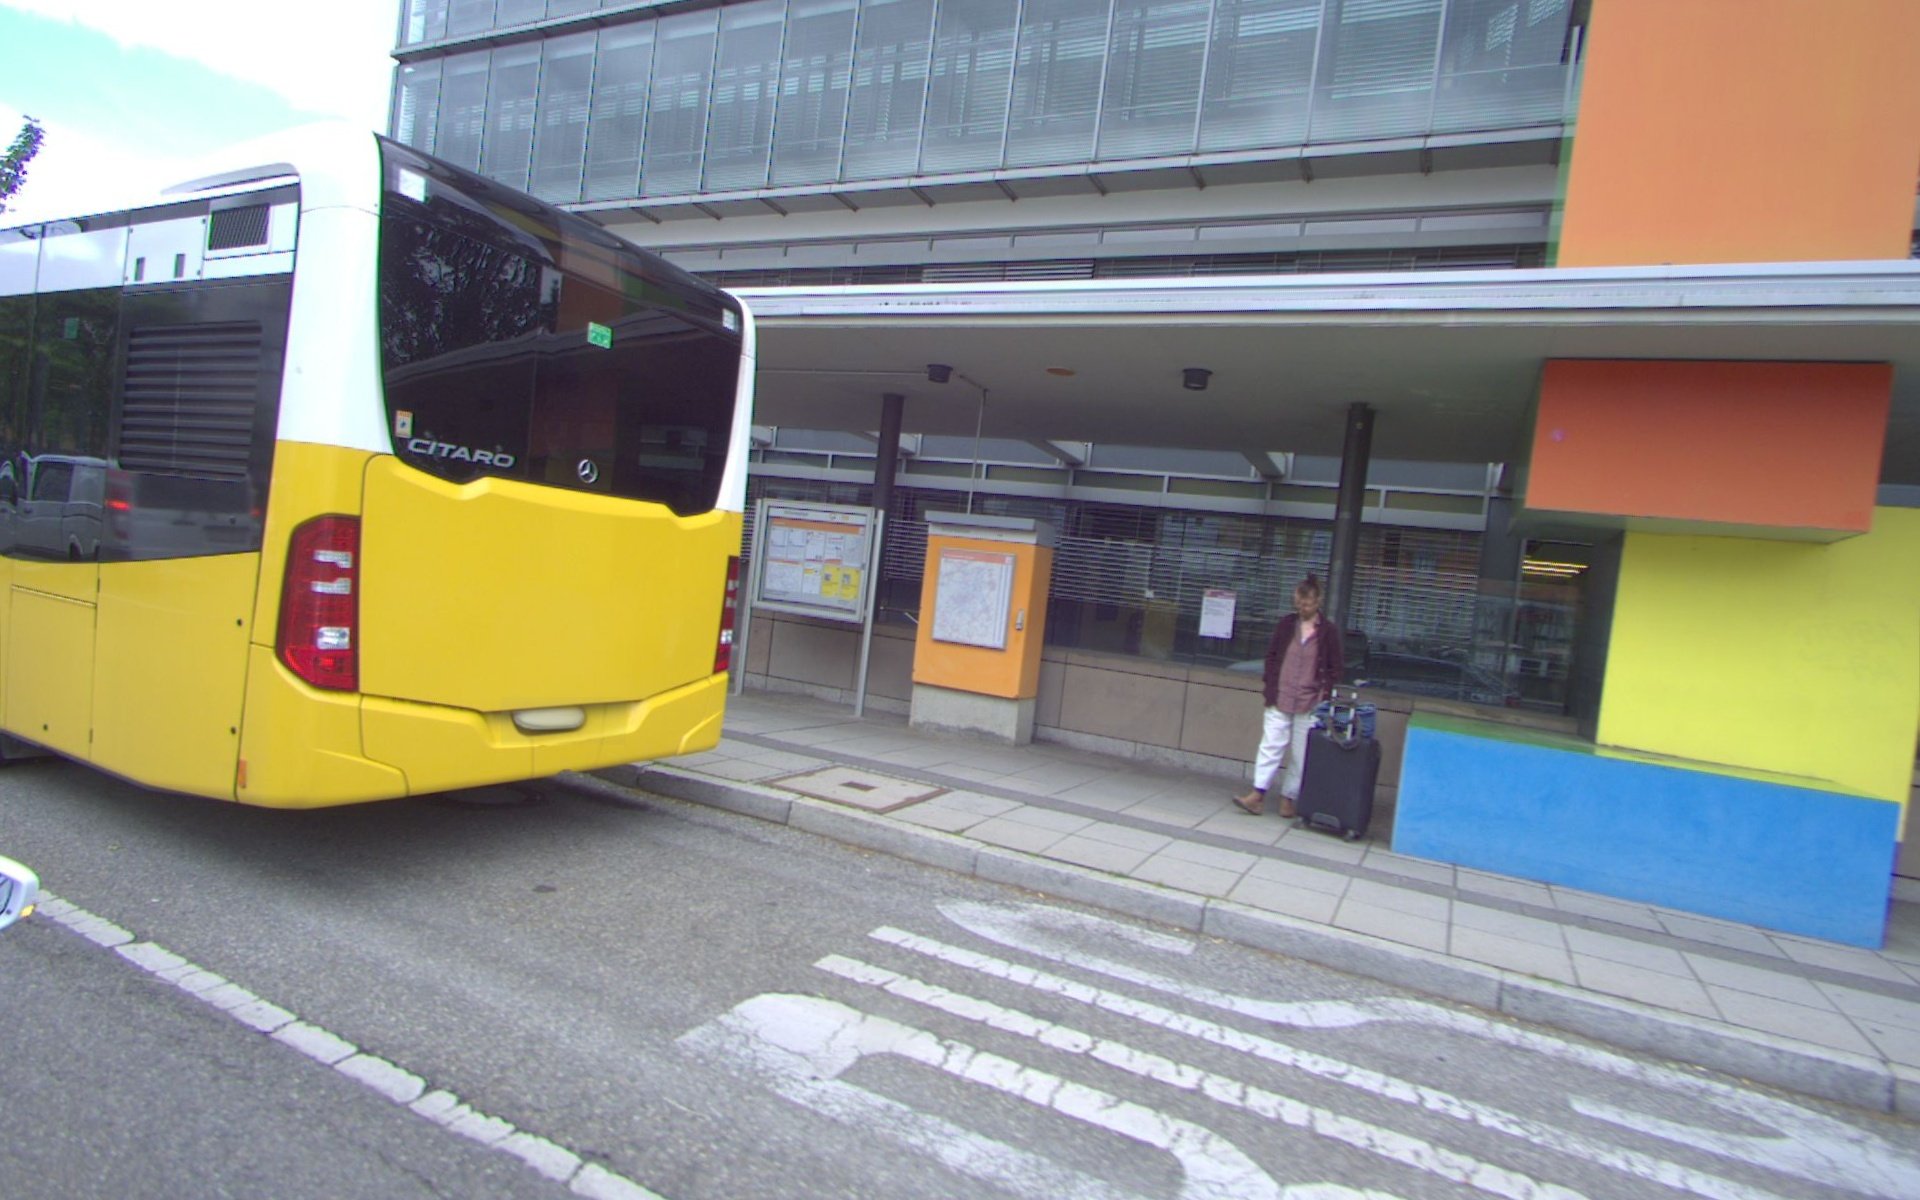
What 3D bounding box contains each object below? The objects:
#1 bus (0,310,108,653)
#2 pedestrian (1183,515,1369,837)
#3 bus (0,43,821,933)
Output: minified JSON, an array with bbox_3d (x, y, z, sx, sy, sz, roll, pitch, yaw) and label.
[{"bbox_3d":[-13.236,-1.575,10.956,8.967,3.205,2.716,7,2,27],"label":"bus"},{"bbox_3d":[2.291,0.505,7.210,0.865,2.040,1.141,7,2,28],"label":"pedestrian"},{"bbox_3d":[-5.420,-0.760,6.824,8.716,3.149,2.716,7,1,28],"label":"bus"}]
